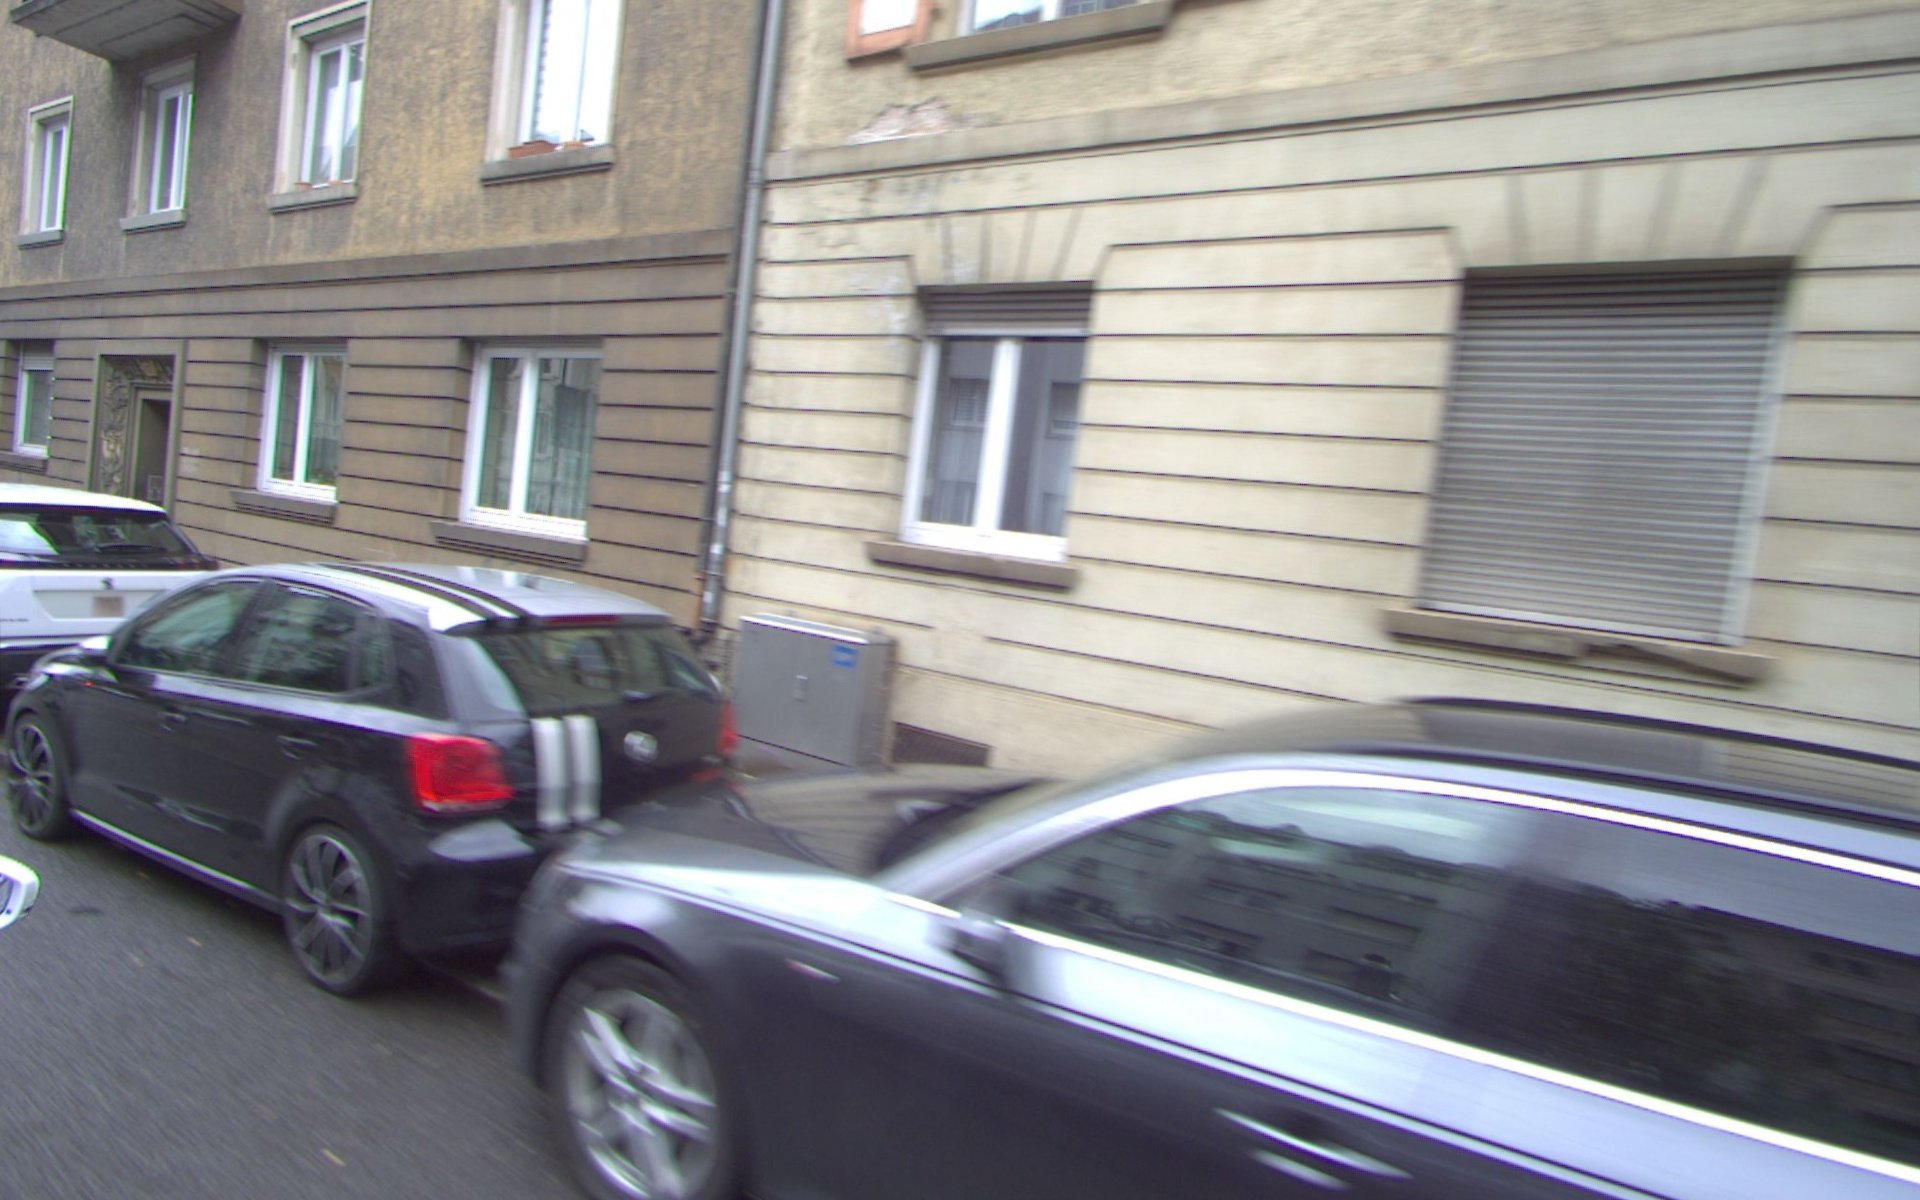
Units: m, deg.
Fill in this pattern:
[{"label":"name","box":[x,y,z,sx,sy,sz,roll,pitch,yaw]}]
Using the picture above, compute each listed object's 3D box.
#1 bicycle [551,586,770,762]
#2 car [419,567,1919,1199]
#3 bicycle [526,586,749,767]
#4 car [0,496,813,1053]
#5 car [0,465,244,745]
[{"label":"bicycle","box":[-2.340,0.517,7.686,2.071,1.088,0.247,6,3,32]},{"label":"car","box":[0.981,0.887,2.288,4.511,1.498,1.779,6,1,31]},{"label":"bicycle","box":[-2.446,0.514,7.460,2.071,1.088,0.247,6,3,32]},{"label":"car","box":[-2.712,0.497,4.591,3.671,1.496,1.636,6,-2,29]},{"label":"car","box":[-7.213,-0.159,7.348,4.123,1.661,1.632,6,4,29]}]
